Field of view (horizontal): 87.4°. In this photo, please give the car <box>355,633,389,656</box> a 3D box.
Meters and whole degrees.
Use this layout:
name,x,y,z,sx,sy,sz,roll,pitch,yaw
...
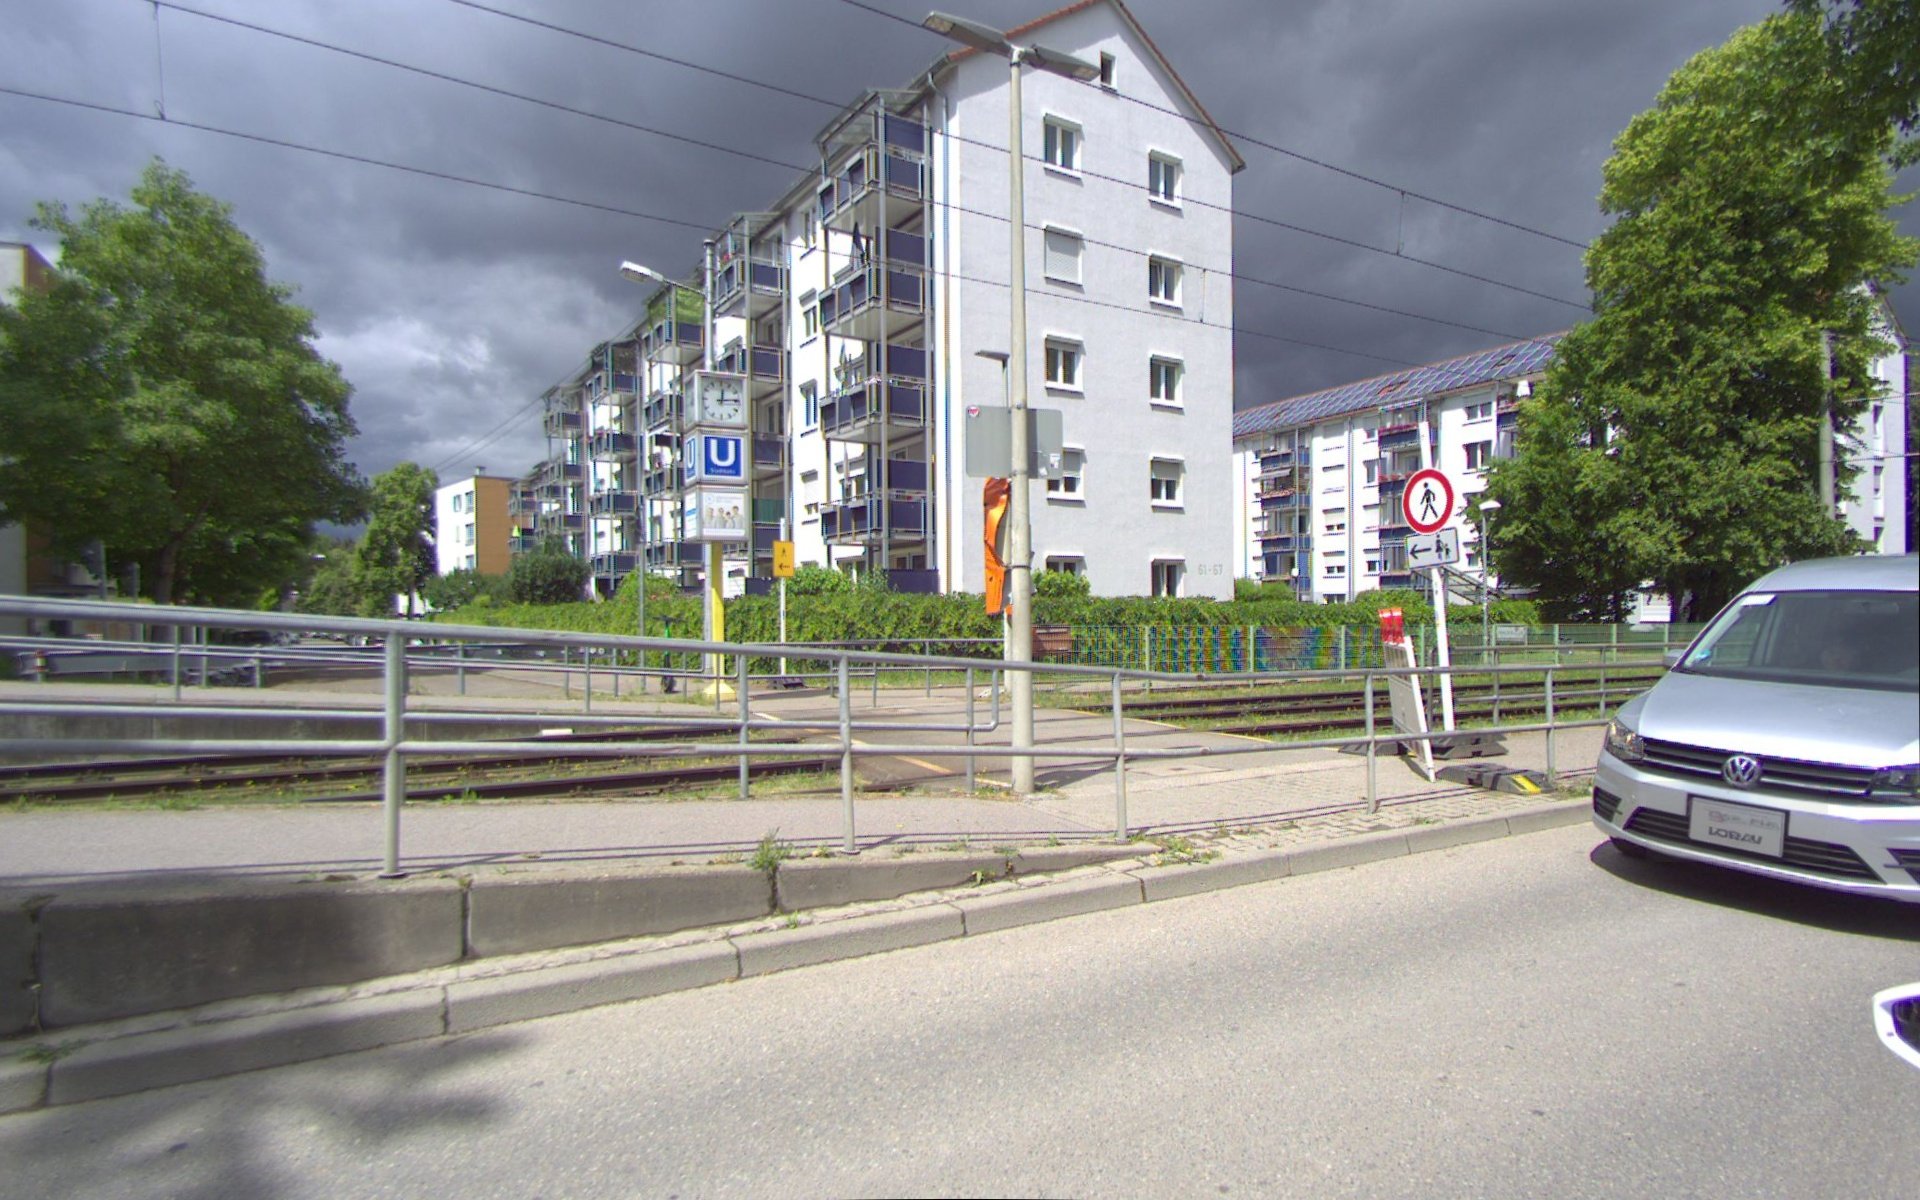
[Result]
name,x,y,z,sx,sy,sz,roll,pitch,yaw
car,-40.388,3.045,69.054,1.915,1.505,3.969,0,-1,-30

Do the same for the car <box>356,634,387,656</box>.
name,x,y,z,sx,sy,sz,roll,pitch,yaw
car,-42.815,3.233,73.145,1.915,1.505,3.969,0,-1,-30

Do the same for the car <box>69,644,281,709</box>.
name,x,y,z,sx,sy,sz,roll,pitch,yaw
car,-19.822,1.891,25.595,3.948,1.445,1.837,0,-2,-27

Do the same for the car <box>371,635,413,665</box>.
name,x,y,z,sx,sy,sz,roll,pitch,yaw
car,-31.071,2.719,54.962,1.915,1.505,3.969,0,-1,-30

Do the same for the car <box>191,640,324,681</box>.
name,x,y,z,sx,sy,sz,roll,pitch,yaw
car,-27.053,2.315,38.849,3.948,1.445,1.837,0,-2,-27

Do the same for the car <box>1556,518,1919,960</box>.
name,x,y,z,sx,sy,sz,roll,pitch,yaw
car,5.679,0.609,6.002,4.594,1.865,1.744,1,0,-32

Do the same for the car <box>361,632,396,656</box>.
name,x,y,z,sx,sy,sz,roll,pitch,yaw
car,-37.692,2.835,65.156,1.915,1.505,3.969,0,-1,-30

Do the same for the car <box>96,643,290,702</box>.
name,x,y,z,sx,sy,sz,roll,pitch,yaw
car,-21.016,1.949,27.725,3.948,1.445,1.837,0,-2,-27

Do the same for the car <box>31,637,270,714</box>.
name,x,y,z,sx,sy,sz,roll,pitch,yaw
car,-18.381,1.662,23.062,3.950,1.572,1.888,0,-2,-28

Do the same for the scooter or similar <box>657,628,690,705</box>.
name,x,y,z,sx,sy,sz,roll,pitch,yaw
scooter or similar,-4.975,1.125,17.398,0.458,1.270,1.295,0,-1,-20
